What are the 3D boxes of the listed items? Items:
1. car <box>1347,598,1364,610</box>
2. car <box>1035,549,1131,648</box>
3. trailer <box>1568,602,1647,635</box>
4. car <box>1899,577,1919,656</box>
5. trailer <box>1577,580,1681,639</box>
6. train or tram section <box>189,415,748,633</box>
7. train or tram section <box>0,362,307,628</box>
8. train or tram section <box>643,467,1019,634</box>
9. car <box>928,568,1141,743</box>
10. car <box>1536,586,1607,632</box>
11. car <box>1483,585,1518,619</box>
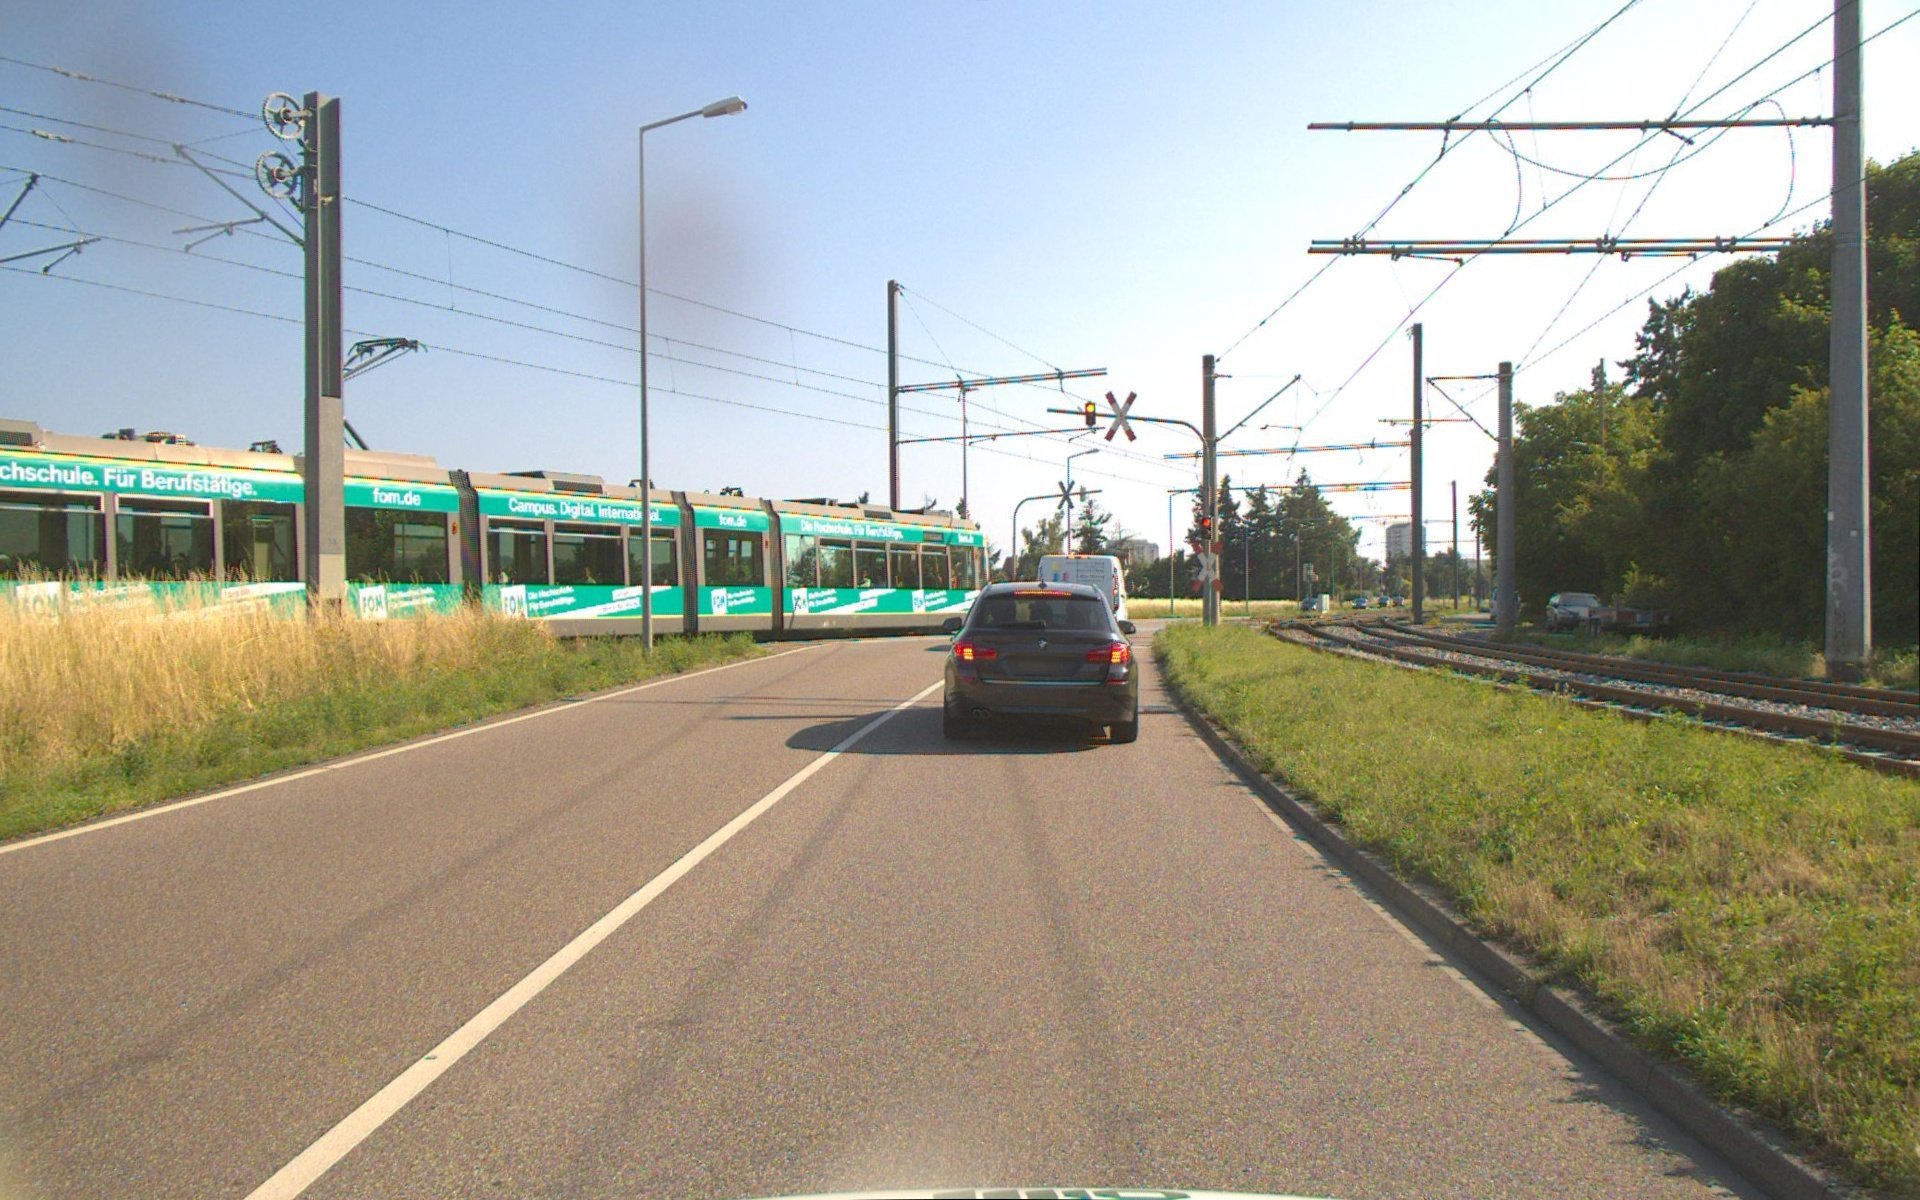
[{"bbox_3d":[49.032,0.473,205.083,1.658,1.465,4.285,1,0,19],"label":"car"},{"bbox_3d":[2.779,-0.048,36.483,1.818,2.023,5.112,1,0,7],"label":"car"},{"bbox_3d":[20.888,0.574,53.471,1.694,0.955,3.731,3,1,11],"label":"trailer"},{"bbox_3d":[18.178,0.311,28.467,1.589,1.435,4.523,1,0,2],"label":"car"},{"bbox_3d":[19.960,0.266,49.527,1.983,1.624,4.263,2,0,10],"label":"trailer"},{"bbox_3d":[-8.919,-1.159,32.674,2.861,3.514,12.148,1,0,28],"label":"train or tram section"},{"bbox_3d":[-14.609,-1.429,21.857,2.894,3.545,12.148,1,0,28],"label":"train or tram section"},{"bbox_3d":[-2.811,-1.018,44.416,2.851,3.631,14.239,1,-1,28],"label":"train or tram section"},{"bbox_3d":[0.782,0.535,16.850,1.830,1.478,4.745,2,-1,3],"label":"car"},{"bbox_3d":[21.460,0.300,58.216,1.662,1.482,4.885,2,1,13],"label":"car"},{"bbox_3d":[34.453,0.129,105.395,1.952,2.039,5.069,3,1,19],"label":"car"}]
